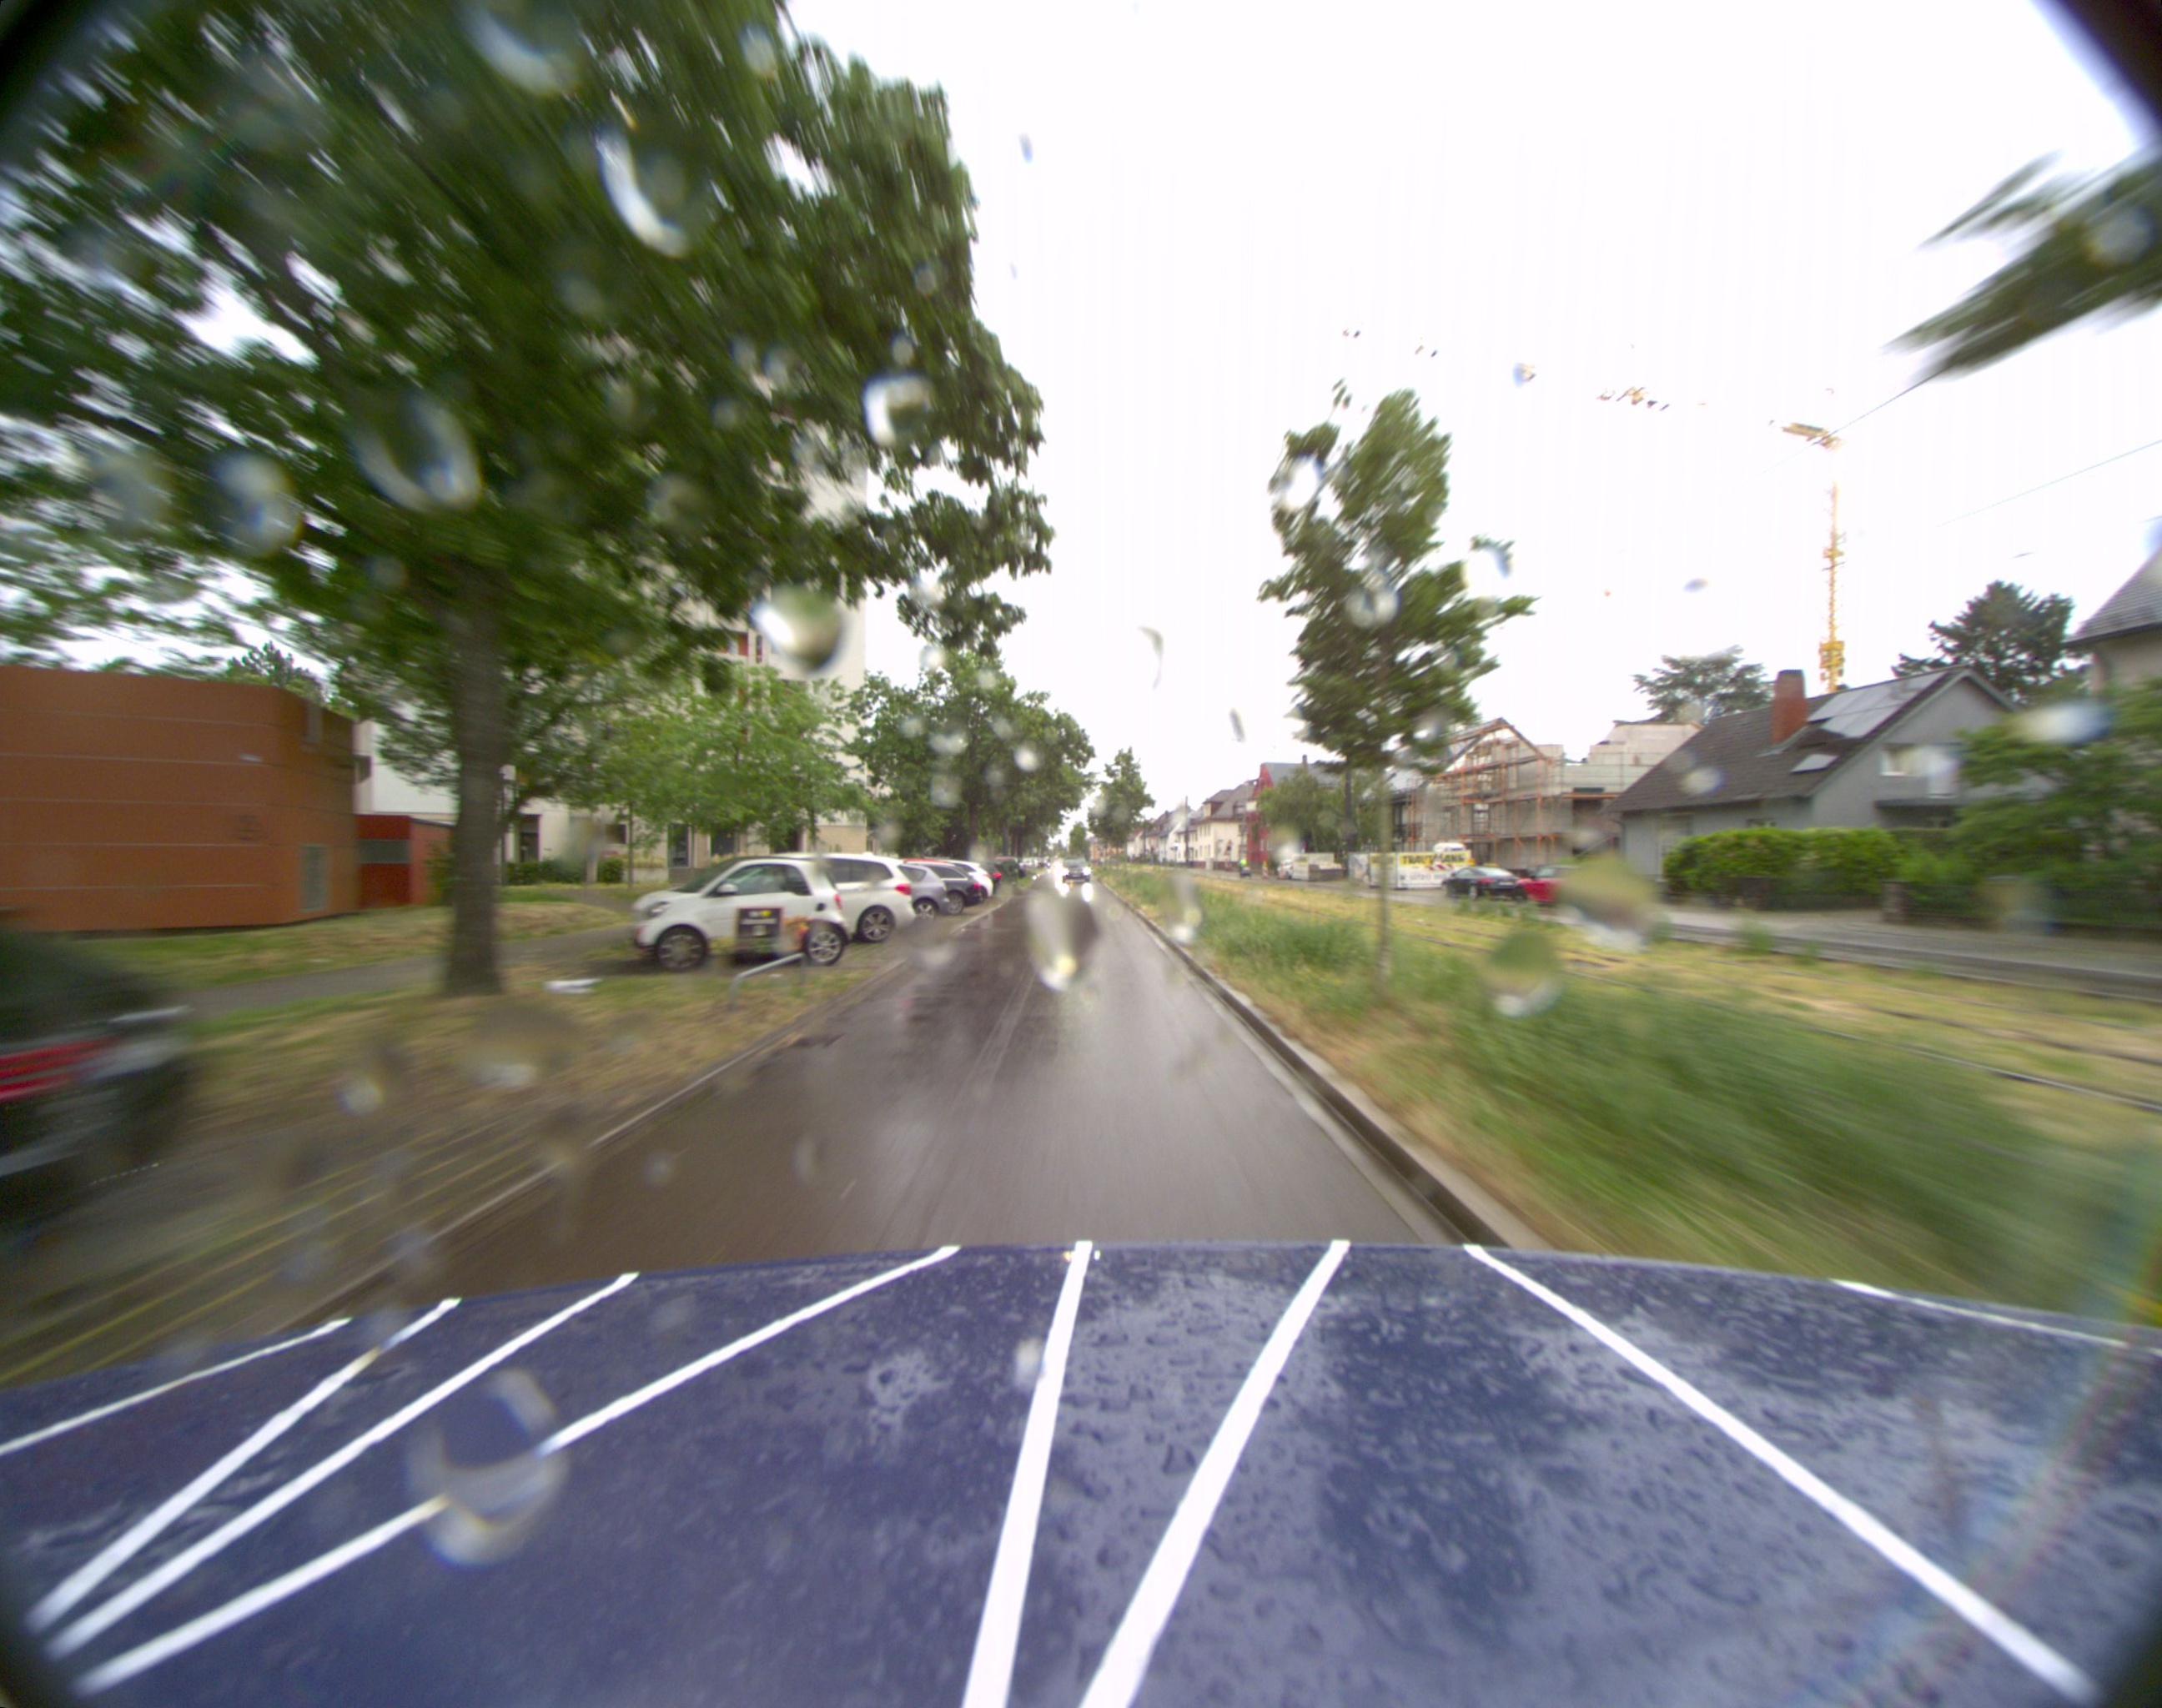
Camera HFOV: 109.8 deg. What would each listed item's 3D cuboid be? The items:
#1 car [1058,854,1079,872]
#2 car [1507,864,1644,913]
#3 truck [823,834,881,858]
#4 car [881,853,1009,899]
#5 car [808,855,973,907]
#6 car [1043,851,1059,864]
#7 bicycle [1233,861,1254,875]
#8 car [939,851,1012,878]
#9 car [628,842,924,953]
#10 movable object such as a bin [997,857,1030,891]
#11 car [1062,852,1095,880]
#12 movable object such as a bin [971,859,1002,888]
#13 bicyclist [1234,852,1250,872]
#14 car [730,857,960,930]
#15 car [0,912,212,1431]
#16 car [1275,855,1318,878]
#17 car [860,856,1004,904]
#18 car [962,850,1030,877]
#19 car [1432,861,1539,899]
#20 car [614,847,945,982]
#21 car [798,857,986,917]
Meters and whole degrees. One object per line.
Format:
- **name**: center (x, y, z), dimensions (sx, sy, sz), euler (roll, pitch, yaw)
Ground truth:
- **car**: center (-1.309, 0.947, 82.072), dimensions (1.998, 1.762, 4.000), euler (-1, 1, 1)
- **car**: center (16.160, 1.081, 25.094), dimensions (1.999, 1.365, 3.842), euler (-1, 1, -1)
- **truck**: center (-23.952, -0.876, 79.523), dimensions (5.681, 2.424, 2.120), euler (-1, 1, -18)
- **car**: center (-5.188, 0.853, 29.196), dimensions (4.469, 1.533, 1.680), euler (3, 0, -31)
- **car**: center (-5.708, 0.839, 23.064), dimensions (4.471, 1.419, 1.804), euler (3, -1, -38)
- **car**: center (-4.336, 0.517, 110.495), dimensions (1.998, 1.696, 4.000), euler (-1, 1, 1)
- **bicycle**: center (13.364, 1.141, 62.624), dimensions (0.937, 1.037, 3.433), euler (0, 0, -2)
- **car**: center (-6.396, 0.657, 46.262), dimensions (4.056, 1.479, 1.720), euler (3, -1, -36)
- **car**: center (-5.269, 0.734, 13.474), dimensions (4.471, 1.661, 1.807), euler (3, -1, -39)
- **movable object such as a bin**: center (-3.207, 0.924, 36.004), dimensions (1.165, 1.553, 1.372), euler (-2, 1, -23)
- **car**: center (-0.166, 0.736, 49.292), dimensions (1.999, 1.611, 3.999), euler (-1, 1, 0)
- **movable object such as a bin**: center (-4.455, 0.903, 35.845), dimensions (0.999, 1.305, 1.183), euler (-2, 2, -37)
- **bicyclist**: center (13.362, 0.643, 63.044), dimensions (0.956, 1.575, 1.400), euler (-1, 1, 0)
- **car**: center (-5.124, 0.873, 16.750), dimensions (4.470, 1.401, 1.763), euler (3, -1, -34)
- **car**: center (-5.262, 0.904, 1.764), dimensions (3.953, 1.423, 1.680), euler (3, -1, -36)
- **car**: center (16.830, 0.960, 59.497), dimensions (1.999, 1.618, 4.249), euler (-1, 1, -2)
- **car**: center (-5.066, 0.898, 26.098), dimensions (4.470, 1.456, 1.815), euler (3, -1, -34)
- **car**: center (-5.520, 0.613, 49.505), dimensions (4.054, 1.676, 1.720), euler (-1, 1, -36)
- **car**: center (16.026, 1.011, 30.354), dimensions (1.999, 1.401, 4.175), euler (-1, -1, -1)
- **car**: center (-4.339, 0.828, 11.249), dimensions (4.195, 1.661, 1.680), euler (3, -1, -36)
- **car**: center (-4.929, 0.886, 20.104), dimensions (4.470, 1.419, 1.680), euler (3, -1, -33)
